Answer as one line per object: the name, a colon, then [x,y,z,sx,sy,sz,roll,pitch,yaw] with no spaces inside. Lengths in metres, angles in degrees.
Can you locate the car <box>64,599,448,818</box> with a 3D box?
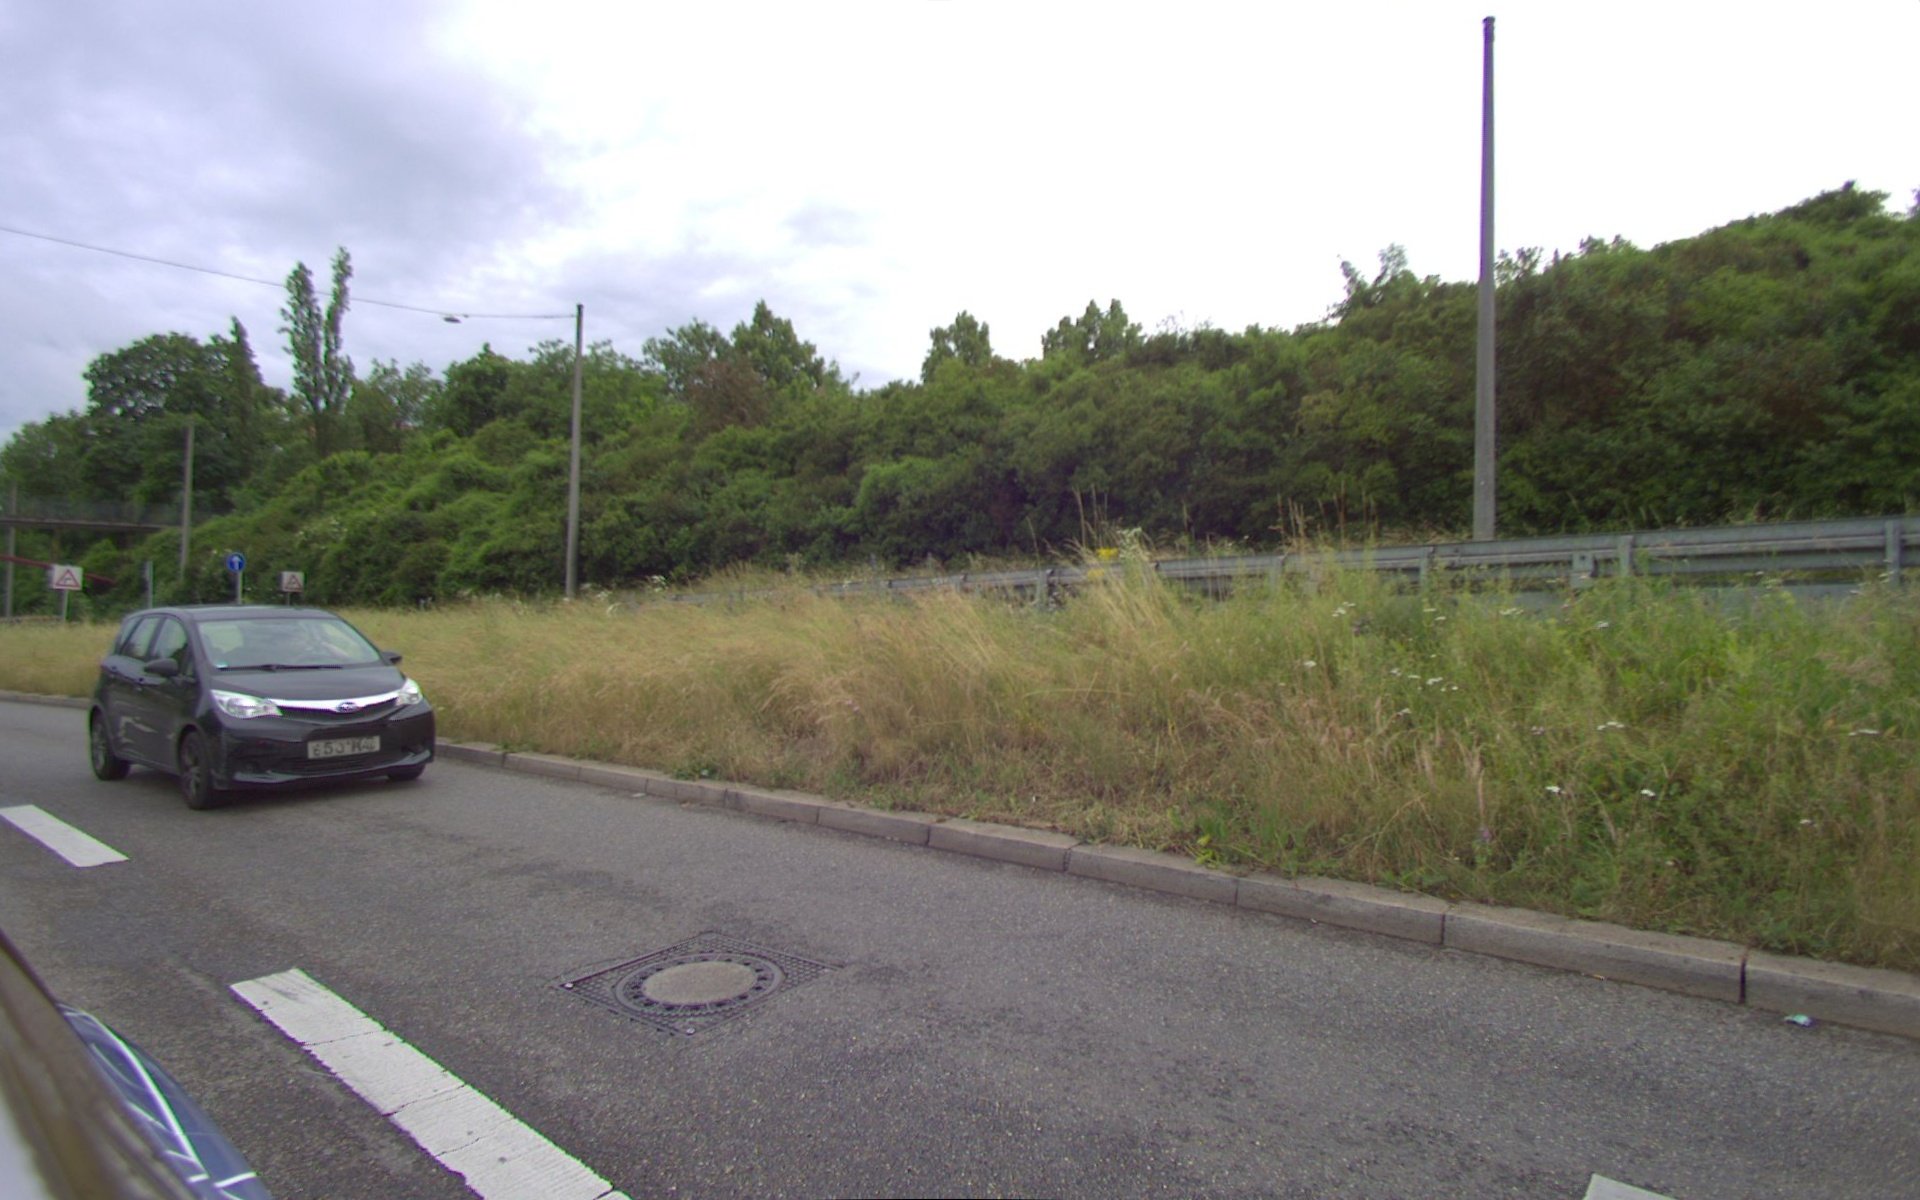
car: [-6.264,0.806,8.877,3.771,1.516,1.627,-2,-1,36]
